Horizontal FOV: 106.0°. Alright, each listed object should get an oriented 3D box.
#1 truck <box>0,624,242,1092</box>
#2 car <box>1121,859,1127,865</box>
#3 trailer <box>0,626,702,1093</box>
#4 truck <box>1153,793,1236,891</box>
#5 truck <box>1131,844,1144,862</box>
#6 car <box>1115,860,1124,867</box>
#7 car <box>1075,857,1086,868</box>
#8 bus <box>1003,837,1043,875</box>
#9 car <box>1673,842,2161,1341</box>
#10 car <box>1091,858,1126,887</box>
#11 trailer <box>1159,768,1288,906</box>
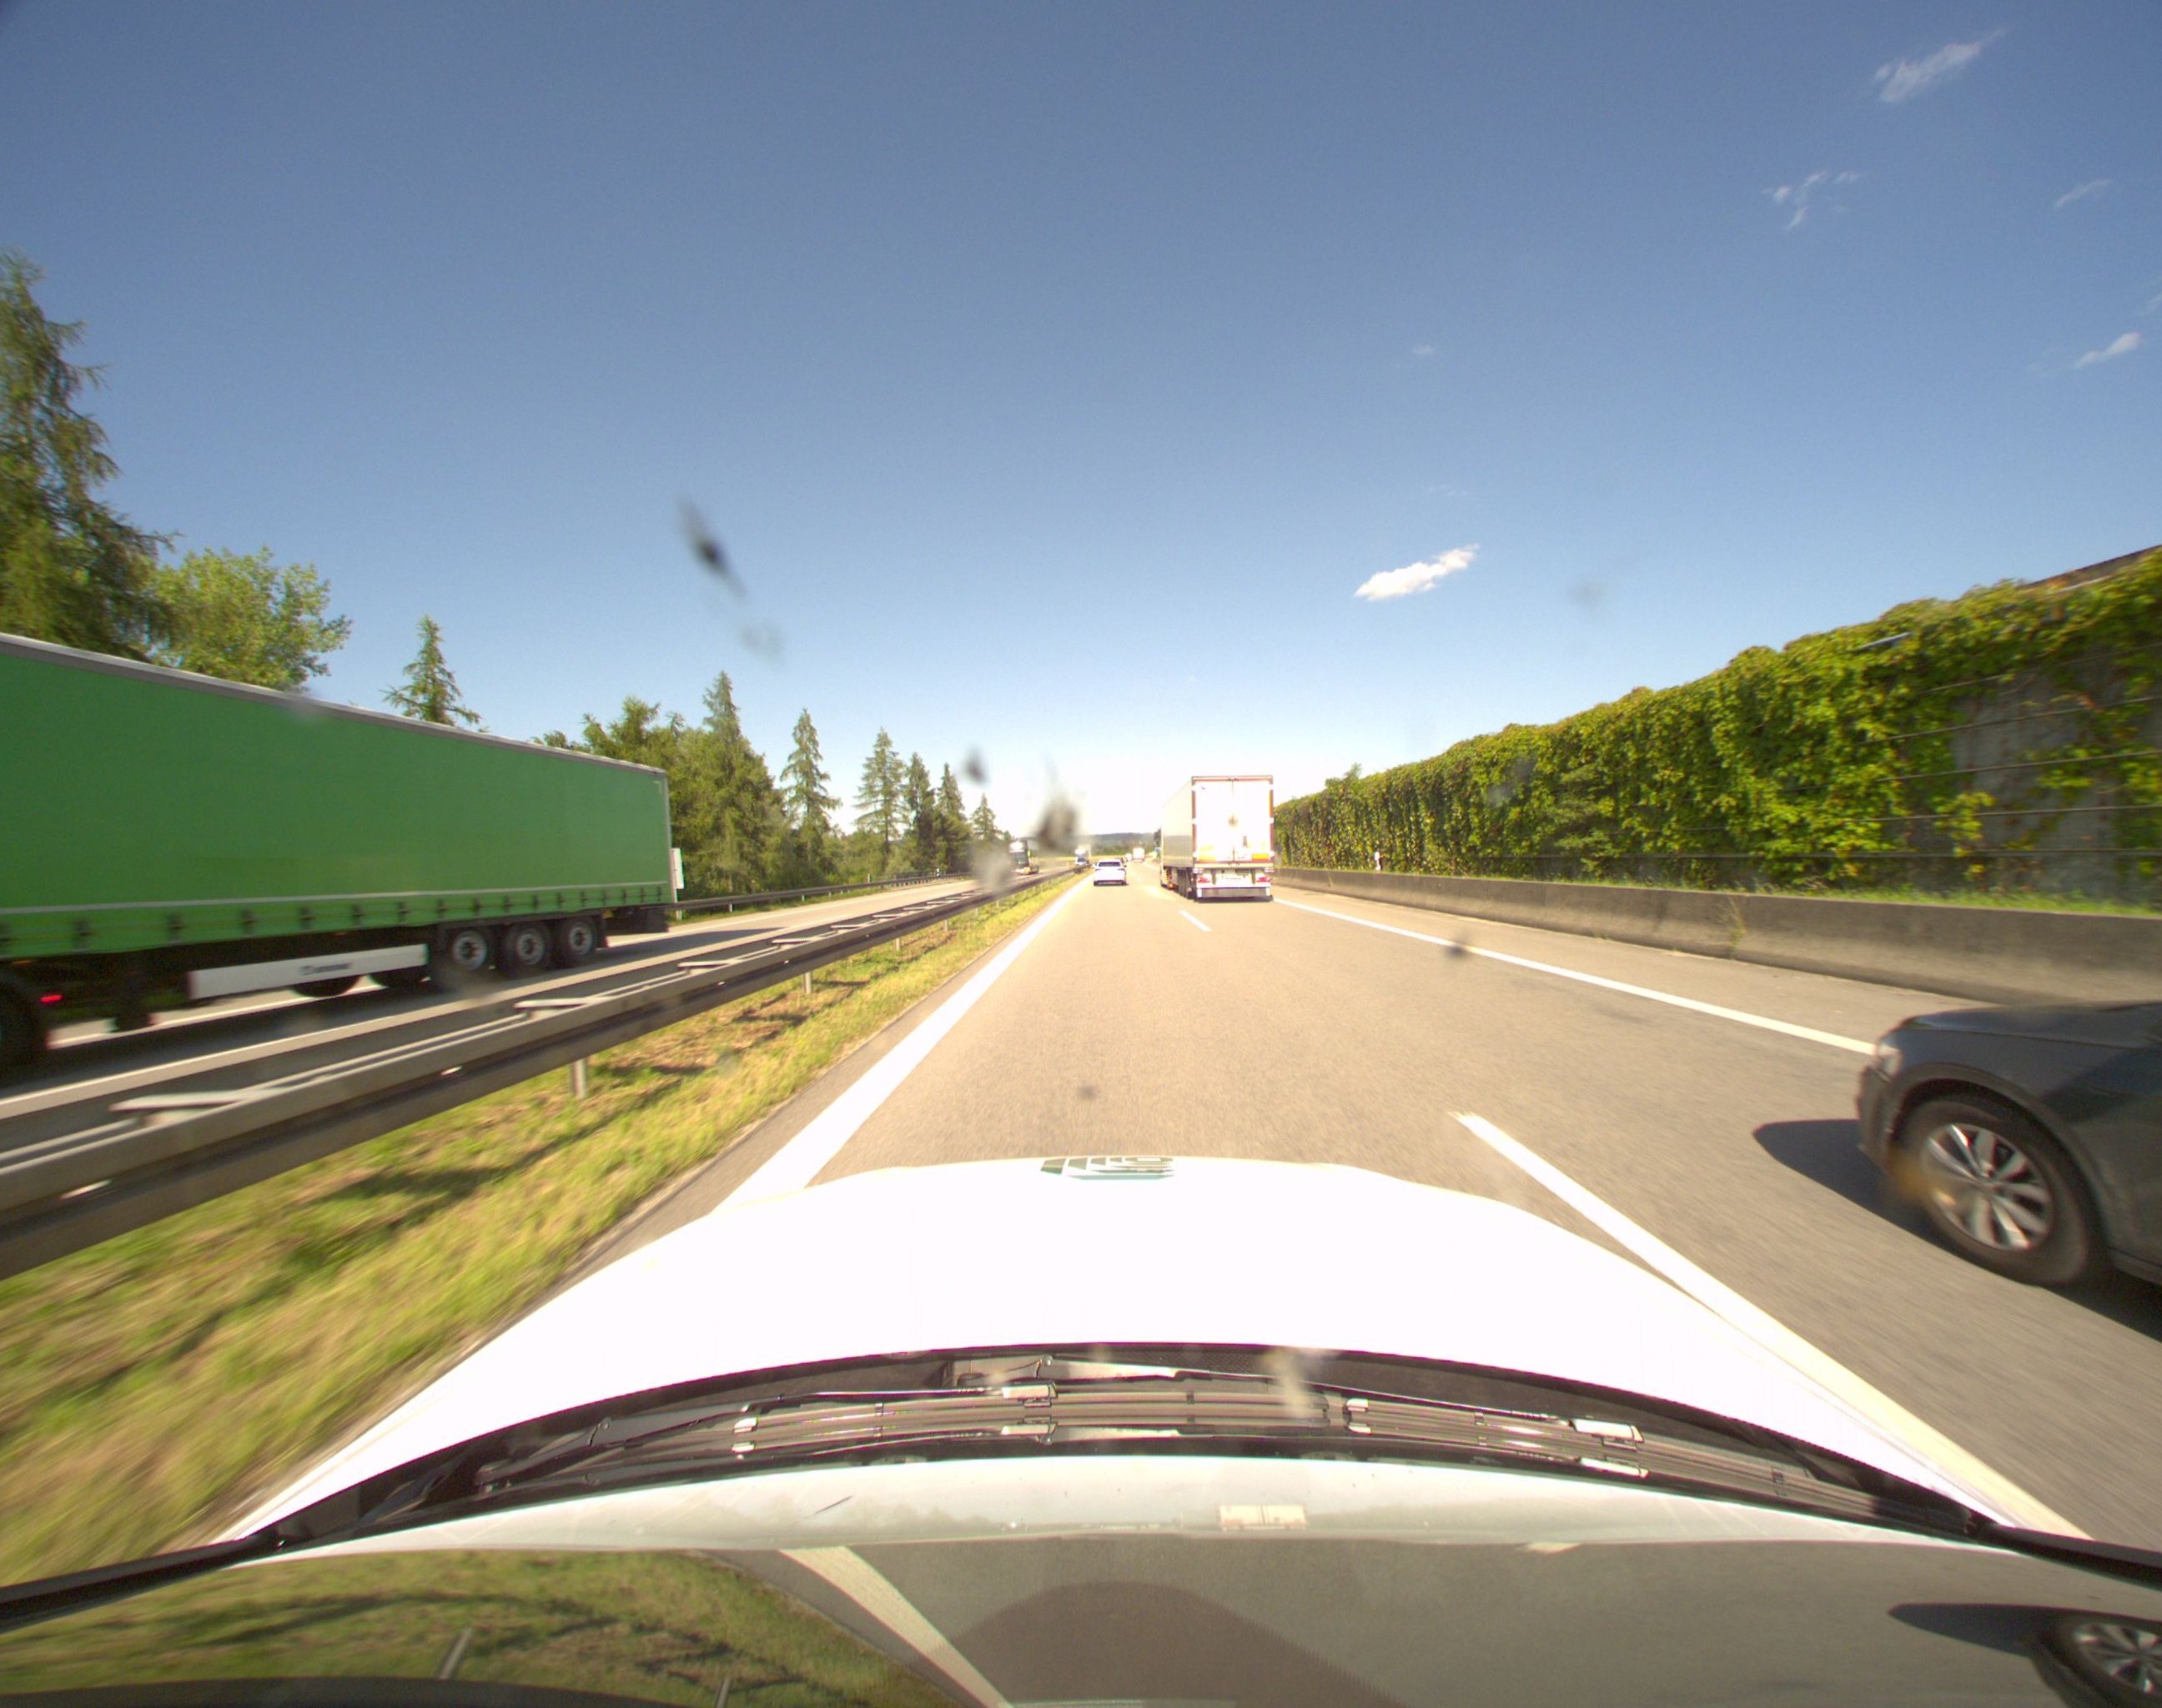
[{"bbox_3d":[-10.602,0.088,5.223,2.634,4.008,7.195,-4,0,2],"label":"truck"},{"bbox_3d":[12.137,2.232,229.350,1.763,1.421,4.369,-1,0,4],"label":"car"},{"bbox_3d":[-10.449,0.113,11.969,2.652,4.008,14.091,-4,0,1],"label":"trailer"},{"bbox_3d":[5.117,-0.508,38.028,2.830,3.966,7.046,-3,0,1],"label":"truck"},{"bbox_3d":[15.731,-0.227,227.076,3.139,4.612,8.911,-3,0,3],"label":"truck"},{"bbox_3d":[7.659,1.862,163.499,1.764,1.421,4.499,-1,0,3],"label":"car"},{"bbox_3d":[-0.093,1.584,154.642,1.747,1.849,5.014,-4,0,3],"label":"car"},{"bbox_3d":[-6.729,0.212,97.387,2.925,4.054,14.675,-4,0,2],"label":"bus"},{"bbox_3d":[3.978,0.684,2.109,1.659,1.454,4.546,-1,0,1],"label":"car"},{"bbox_3d":[1.524,0.987,45.385,1.833,1.421,5.256,-1,0,1],"label":"car"},{"bbox_3d":[4.907,-0.498,31.271,2.808,3.966,14.167,-3,0,2],"label":"trailer"}]
